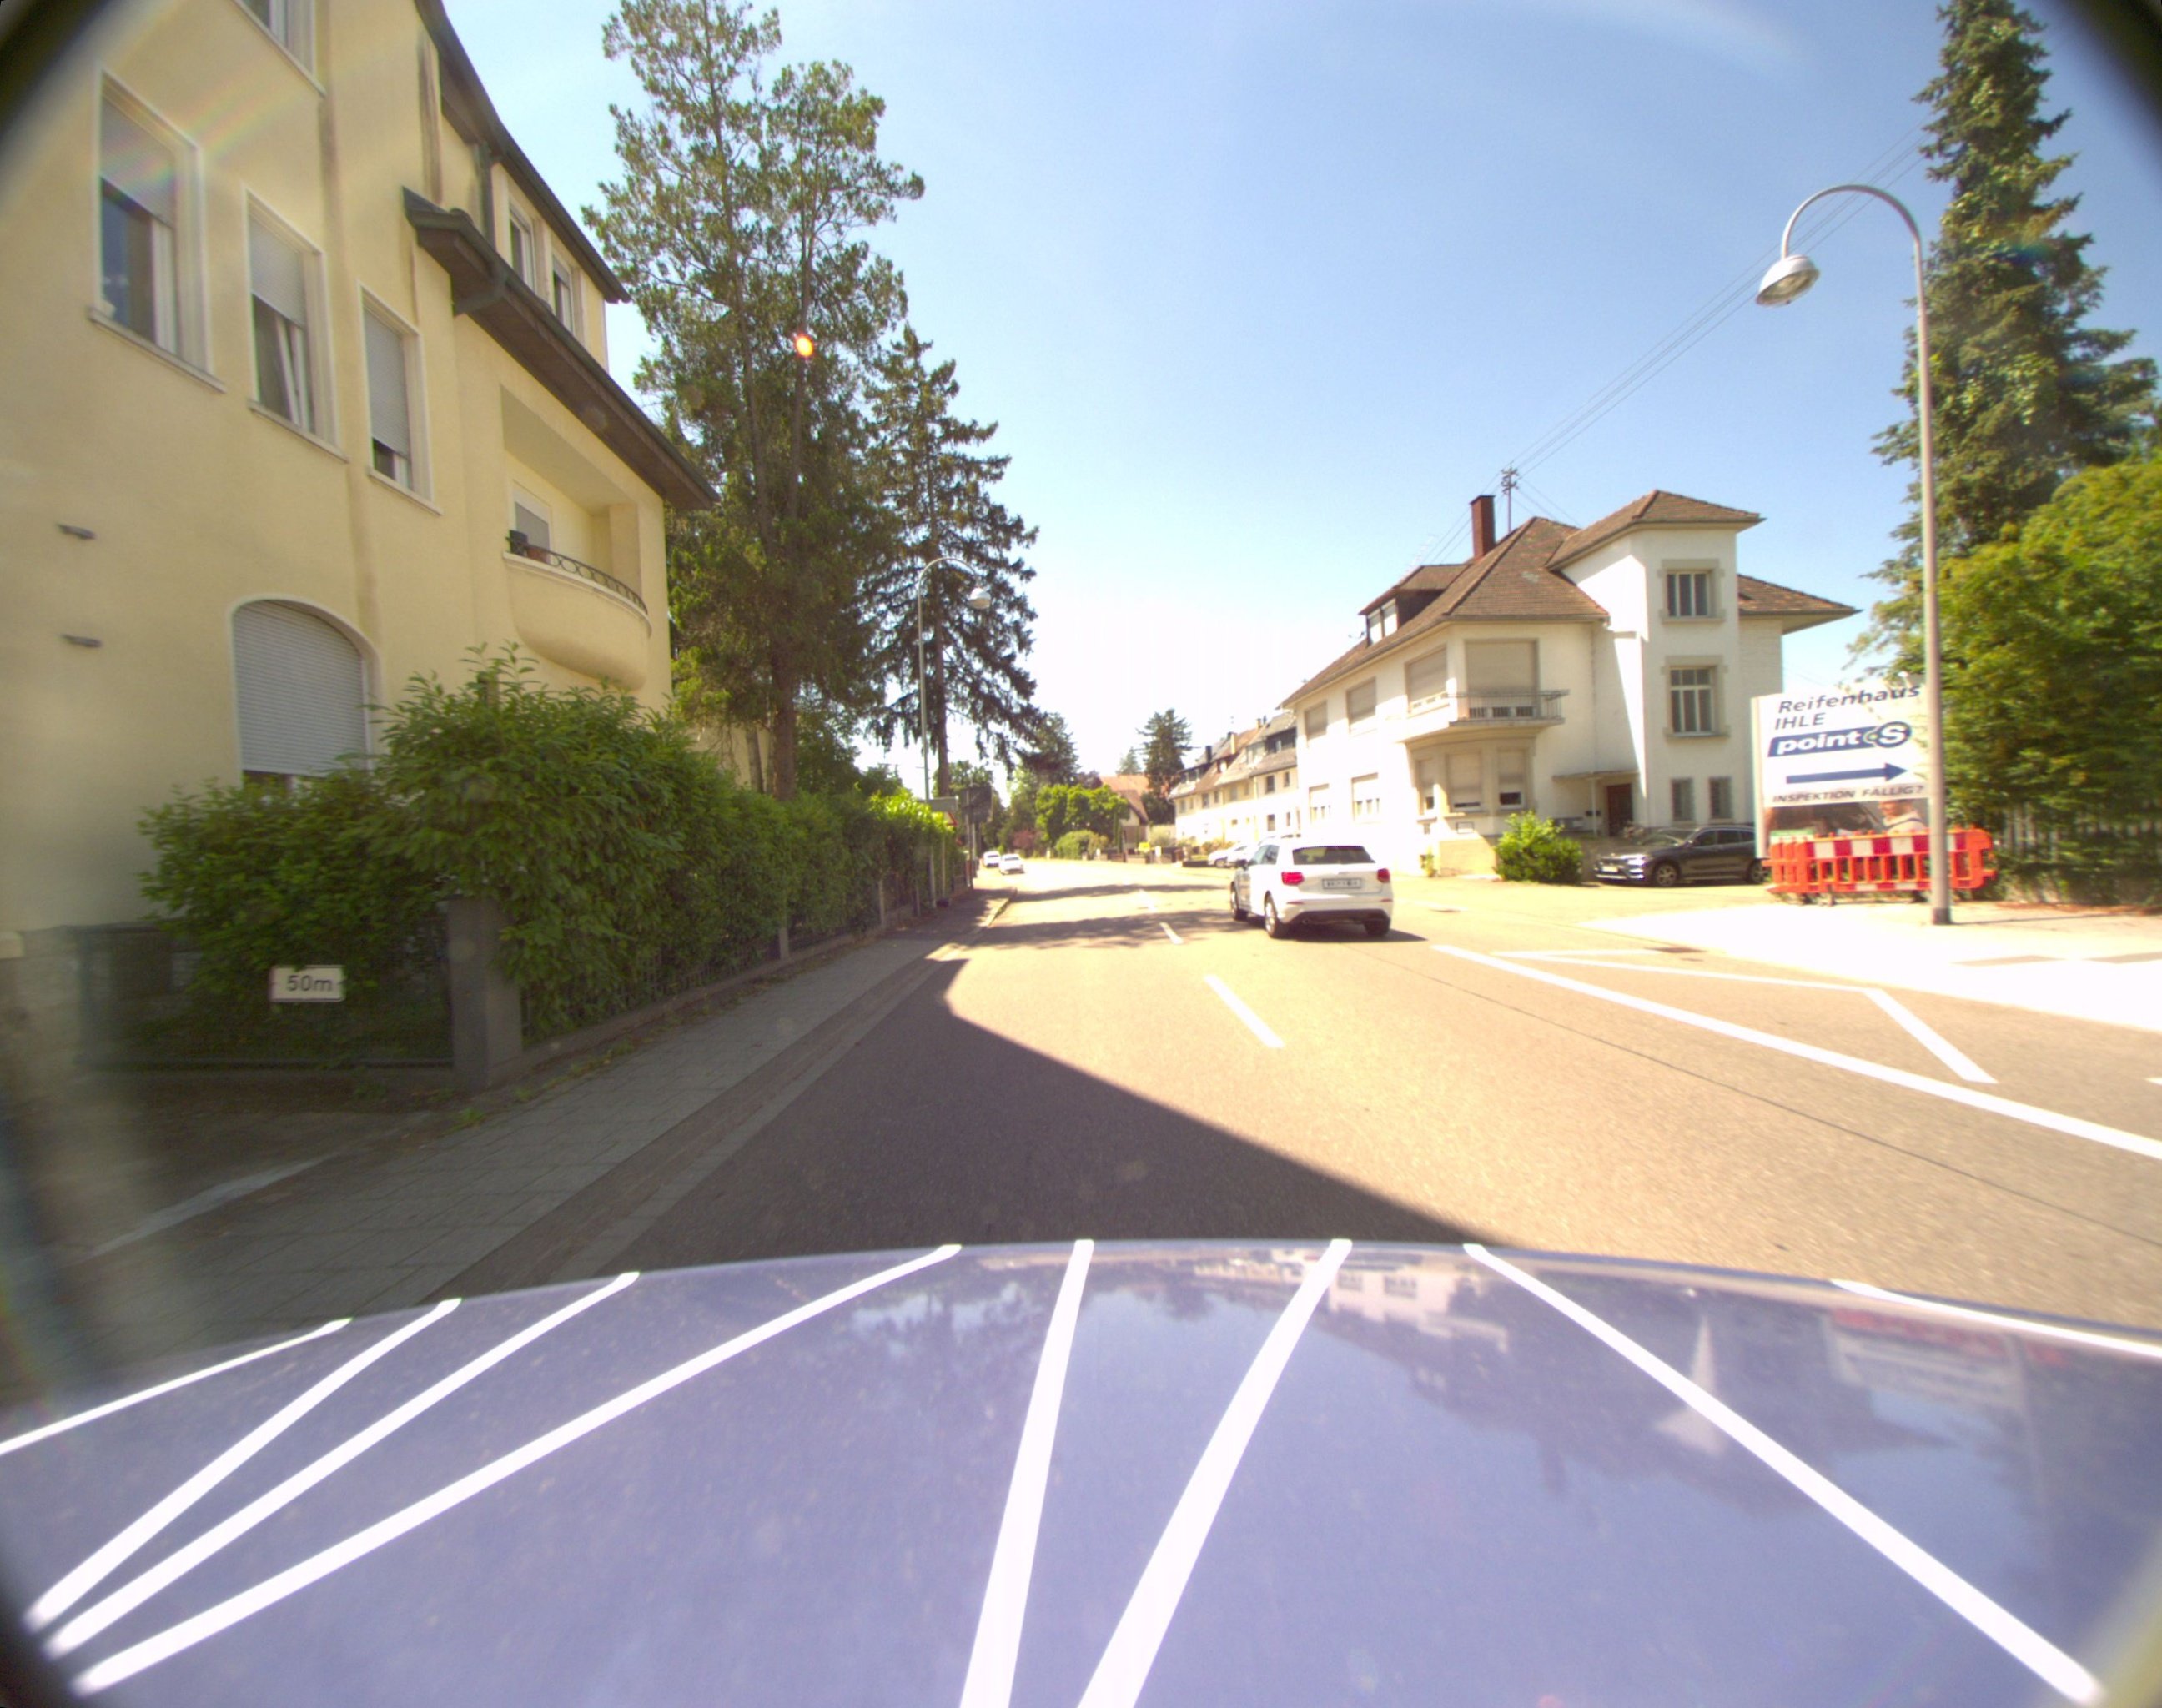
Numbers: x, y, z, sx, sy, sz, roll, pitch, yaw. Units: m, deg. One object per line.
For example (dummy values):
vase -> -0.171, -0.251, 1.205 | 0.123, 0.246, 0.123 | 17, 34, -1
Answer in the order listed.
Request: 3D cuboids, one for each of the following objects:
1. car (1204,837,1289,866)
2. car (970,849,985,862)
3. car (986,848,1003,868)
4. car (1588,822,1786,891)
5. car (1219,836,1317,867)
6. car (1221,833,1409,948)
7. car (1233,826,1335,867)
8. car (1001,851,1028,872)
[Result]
car -> 9.195, -0.133, 42.165 | 4.264, 1.486, 1.880 | -1, 0, 25
car -> -14.551, 0.186, 106.691 | 1.690, 1.769, 3.936 | -5, 2, -11
car -> -9.373, 0.395, 82.514 | 1.689, 1.770, 3.936 | -4, 3, -5
car -> 16.081, 0.102, 20.281 | 3.931, 1.529, 1.565 | -3, -3, -1
car -> 9.569, -0.140, 39.106 | 4.484, 1.486, 1.975 | -1, 0, -5
car -> 3.689, 0.466, 12.748 | 1.825, 1.521, 3.948 | -3, 2, -1
car -> 9.782, -0.363, 36.664 | 4.367, 1.866, 1.848 | -1, 0, -13
car -> -5.097, 0.563, 57.906 | 1.689, 1.446, 3.736 | -4, 1, -8
